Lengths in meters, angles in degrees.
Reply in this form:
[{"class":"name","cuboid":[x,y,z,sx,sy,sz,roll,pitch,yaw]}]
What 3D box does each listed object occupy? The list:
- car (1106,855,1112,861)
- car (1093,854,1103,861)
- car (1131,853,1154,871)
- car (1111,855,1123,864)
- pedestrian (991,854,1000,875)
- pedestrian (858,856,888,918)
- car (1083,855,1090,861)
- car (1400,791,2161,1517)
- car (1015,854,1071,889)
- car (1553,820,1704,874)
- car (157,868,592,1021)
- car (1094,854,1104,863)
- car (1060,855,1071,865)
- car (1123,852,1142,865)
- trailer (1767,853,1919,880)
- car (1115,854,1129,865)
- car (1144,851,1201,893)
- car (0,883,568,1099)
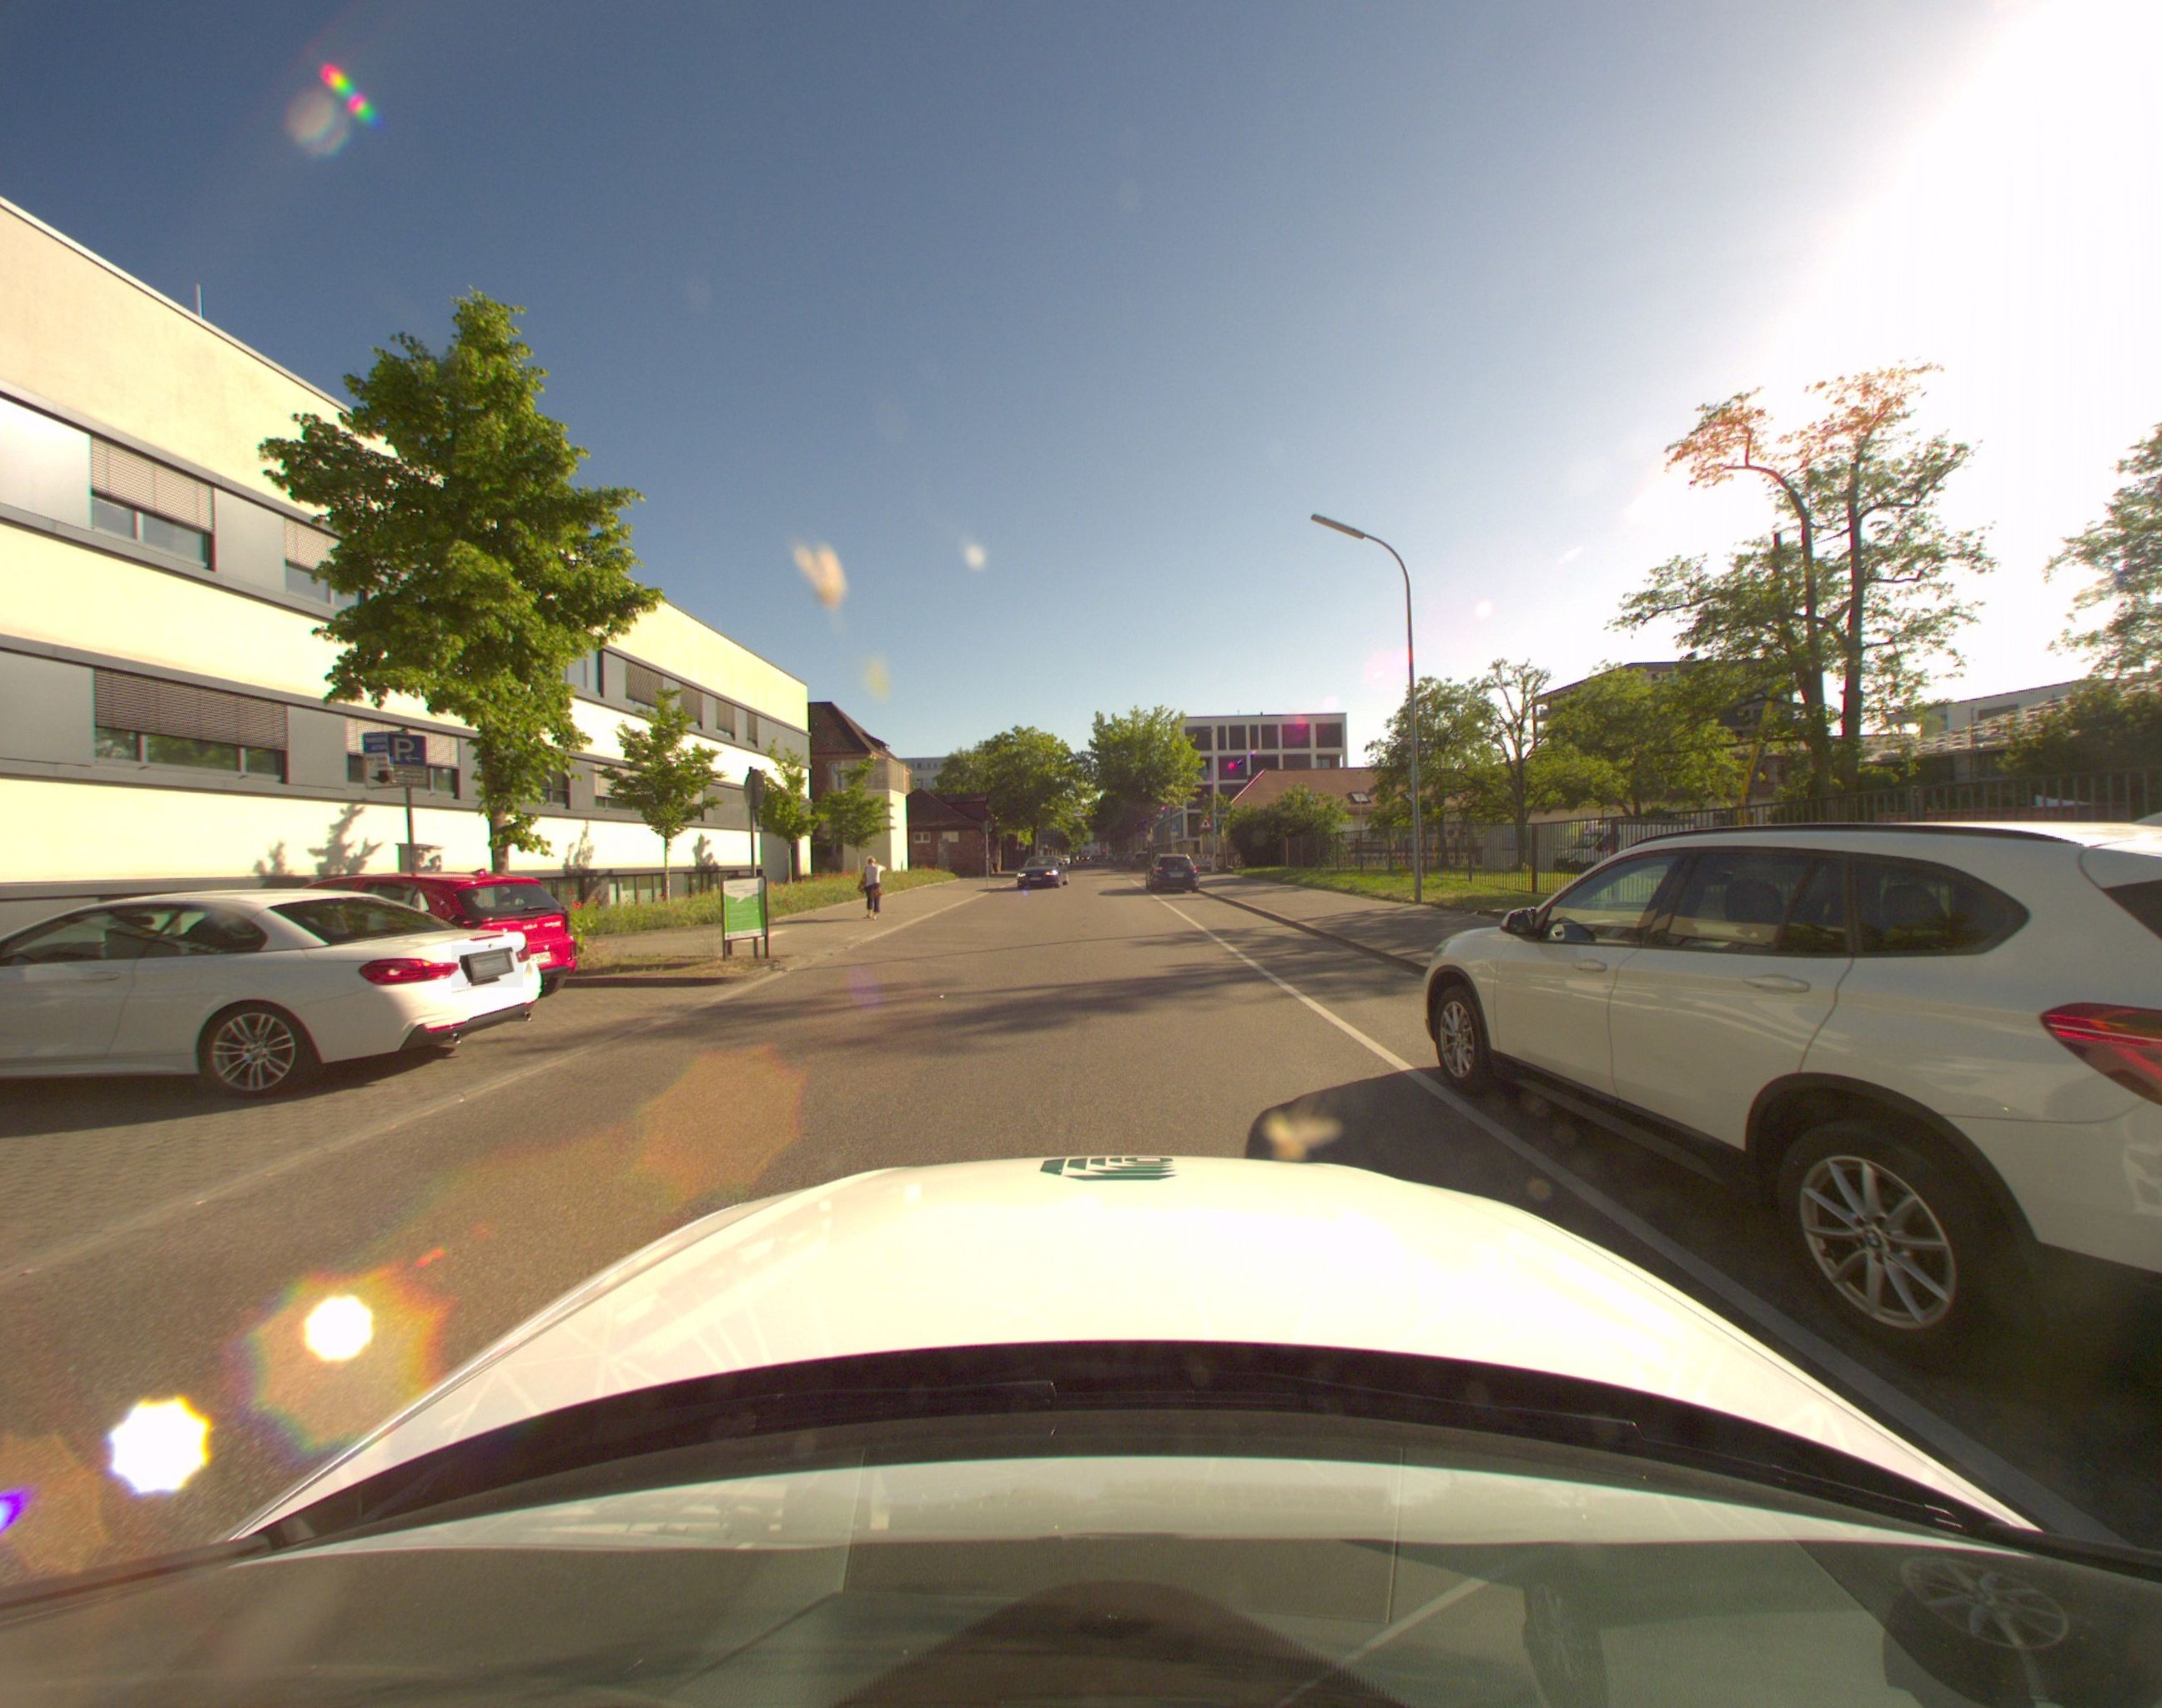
[{"class":"car","cuboid":[6.924,0.925,202.678,1.580,1.400,3.838,-1,0,2]},{"class":"car","cuboid":[3.352,0.649,157.619,1.882,1.400,3.838,-1,0,1]},{"class":"car","cuboid":[5.341,0.679,71.436,1.697,1.468,4.789,-1,0,0]},{"class":"car","cuboid":[6.061,0.843,137.477,1.986,1.465,3.837,-1,0,1]},{"class":"pedestrian","cuboid":[-6.346,0.760,60.724,0.519,1.562,1.096,-1,0,0]},{"class":"pedestrian","cuboid":[-5.320,0.836,20.881,0.536,1.524,0.607,-2,0,2]},{"class":"car","cuboid":[1.437,0.941,211.646,1.648,1.530,4.000,-1,0,1]},{"class":"car","cuboid":[3.237,0.649,3.773,1.807,1.588,4.260,0,0,-1]},{"class":"car","cuboid":[-1.664,0.765,37.497,1.752,1.442,4.547,-2,0,7]},{"class":"car","cuboid":[24.145,-0.298,36.088,5.257,2.202,2.004,-1,1,6]},{"class":"car","cuboid":[-7.721,0.921,9.091,3.615,1.469,1.617,0,0,6]},{"class":"car","cuboid":[3.525,0.846,157.544,1.761,1.548,4.065,-2,0,-1]},{"class":"car","cuboid":[-2.486,0.976,132.417,1.761,1.487,3.999,-2,0,-1]},{"class":"car","cuboid":[5.856,0.517,92.793,1.761,1.440,3.999,-2,0,-1]},{"class":"trailer","cuboid":[30.226,0.454,32.556,1.886,0.919,5.122,-1,0,9]},{"class":"car","cuboid":[6.051,0.834,121.548,1.943,1.578,3.837,-1,0,1]},{"class":"car","cuboid":[3.489,0.633,31.700,1.811,1.453,4.216,-2,0,2]},{"class":"car","cuboid":[-6.838,0.969,6.350,4.500,1.367,1.698,1,0,-3]}]
